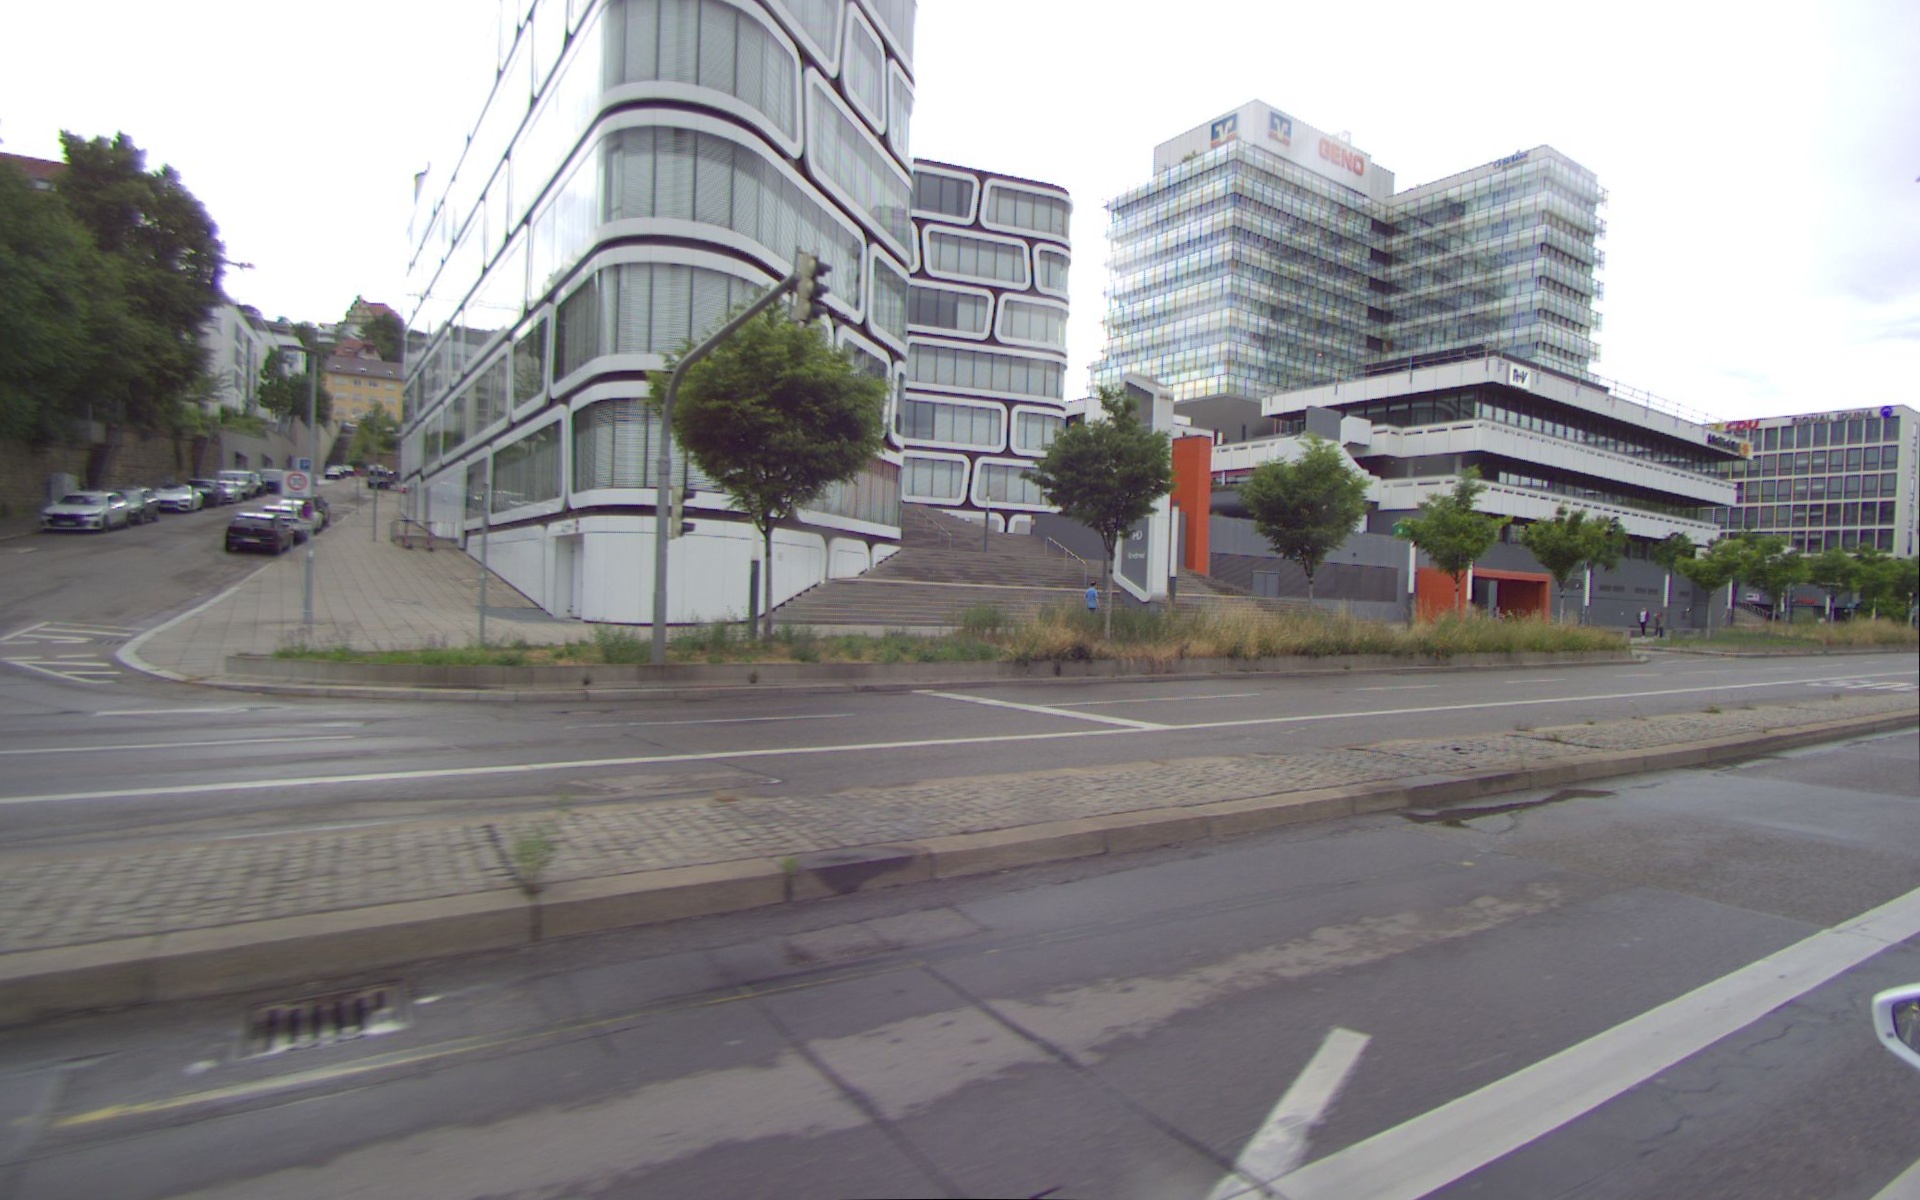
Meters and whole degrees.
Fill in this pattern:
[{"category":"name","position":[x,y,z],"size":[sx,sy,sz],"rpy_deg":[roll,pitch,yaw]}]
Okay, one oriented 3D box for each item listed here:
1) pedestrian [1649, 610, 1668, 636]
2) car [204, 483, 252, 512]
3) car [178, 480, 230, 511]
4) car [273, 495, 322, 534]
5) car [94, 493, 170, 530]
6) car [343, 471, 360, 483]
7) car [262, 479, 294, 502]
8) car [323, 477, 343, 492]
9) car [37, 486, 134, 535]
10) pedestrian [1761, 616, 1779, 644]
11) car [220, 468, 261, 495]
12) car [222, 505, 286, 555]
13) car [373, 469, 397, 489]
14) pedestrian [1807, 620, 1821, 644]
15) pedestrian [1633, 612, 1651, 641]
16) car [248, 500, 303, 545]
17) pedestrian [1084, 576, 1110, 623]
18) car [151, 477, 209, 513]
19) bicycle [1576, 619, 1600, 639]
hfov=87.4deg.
[{"category":"pedestrian","position":[40.403,1.328,58.089],"size":[0.790,1.465,0.614],"rpy_deg":[2,-1,-34]},{"category":"car","position":[-48.199,-6.765,66.196],"size":[1.892,1.706,3.971],"rpy_deg":[3,4,-27]},{"category":"car","position":[-45.673,-6.312,60.779],"size":[1.825,1.706,3.971],"rpy_deg":[3,4,-27]},{"category":"car","position":[-32.281,-4.178,48.989],"size":[1.859,1.598,3.962],"rpy_deg":[2,6,-33]},{"category":"car","position":[-37.542,-4.044,45.618],"size":[1.840,1.474,3.877],"rpy_deg":[3,4,-27]},{"category":"car","position":[-94.470,-19.086,155.964],"size":[1.859,1.706,3.971],"rpy_deg":[3,4,-27]},{"category":"car","position":[-57.684,-9.228,85.013],"size":[1.688,1.706,3.971],"rpy_deg":[3,4,-27]},{"category":"car","position":[-82.961,-15.289,132.976],"size":[1.859,1.706,3.971],"rpy_deg":[3,4,-27]},{"category":"car","position":[-35.093,-3.608,40.431],"size":[2.027,1.706,3.971],"rpy_deg":[3,4,-27]},{"category":"pedestrian","position":[54.449,2.004,67.540],"size":[0.622,1.831,0.779],"rpy_deg":[2,-1,-34]},{"category":"car","position":[-51.165,-8.417,71.488],"size":[1.791,1.706,3.971],"rpy_deg":[3,4,-27]},{"category":"car","position":[-27.130,-2.723,38.701],"size":[1.859,1.598,3.962],"rpy_deg":[2,6,-33]},{"category":"car","position":[-65.920,-13.872,115.176],"size":[1.974,2.118,3.973],"rpy_deg":[3,5,-26]},{"category":"pedestrian","position":[65.616,2.466,77.185],"size":[0.622,1.831,0.625],"rpy_deg":[2,-1,-34]},{"category":"pedestrian","position":[39.941,1.543,58.842],"size":[0.790,1.679,0.614],"rpy_deg":[2,-4,-34]},{"category":"car","position":[-29.538,-3.389,43.445],"size":[1.859,1.598,3.962],"rpy_deg":[2,6,-33]},{"category":"pedestrian","position":[4.857,-0.017,35.679],"size":[0.632,1.632,0.607],"rpy_deg":[2,-1,-31]},{"category":"car","position":[-42.530,-5.726,54.855],"size":[1.791,1.706,3.971],"rpy_deg":[3,4,-27]},{"category":"bicycle","position":[27.328,1.258,43.724],"size":[0.598,0.869,1.657],"rpy_deg":[2,-1,22]}]
